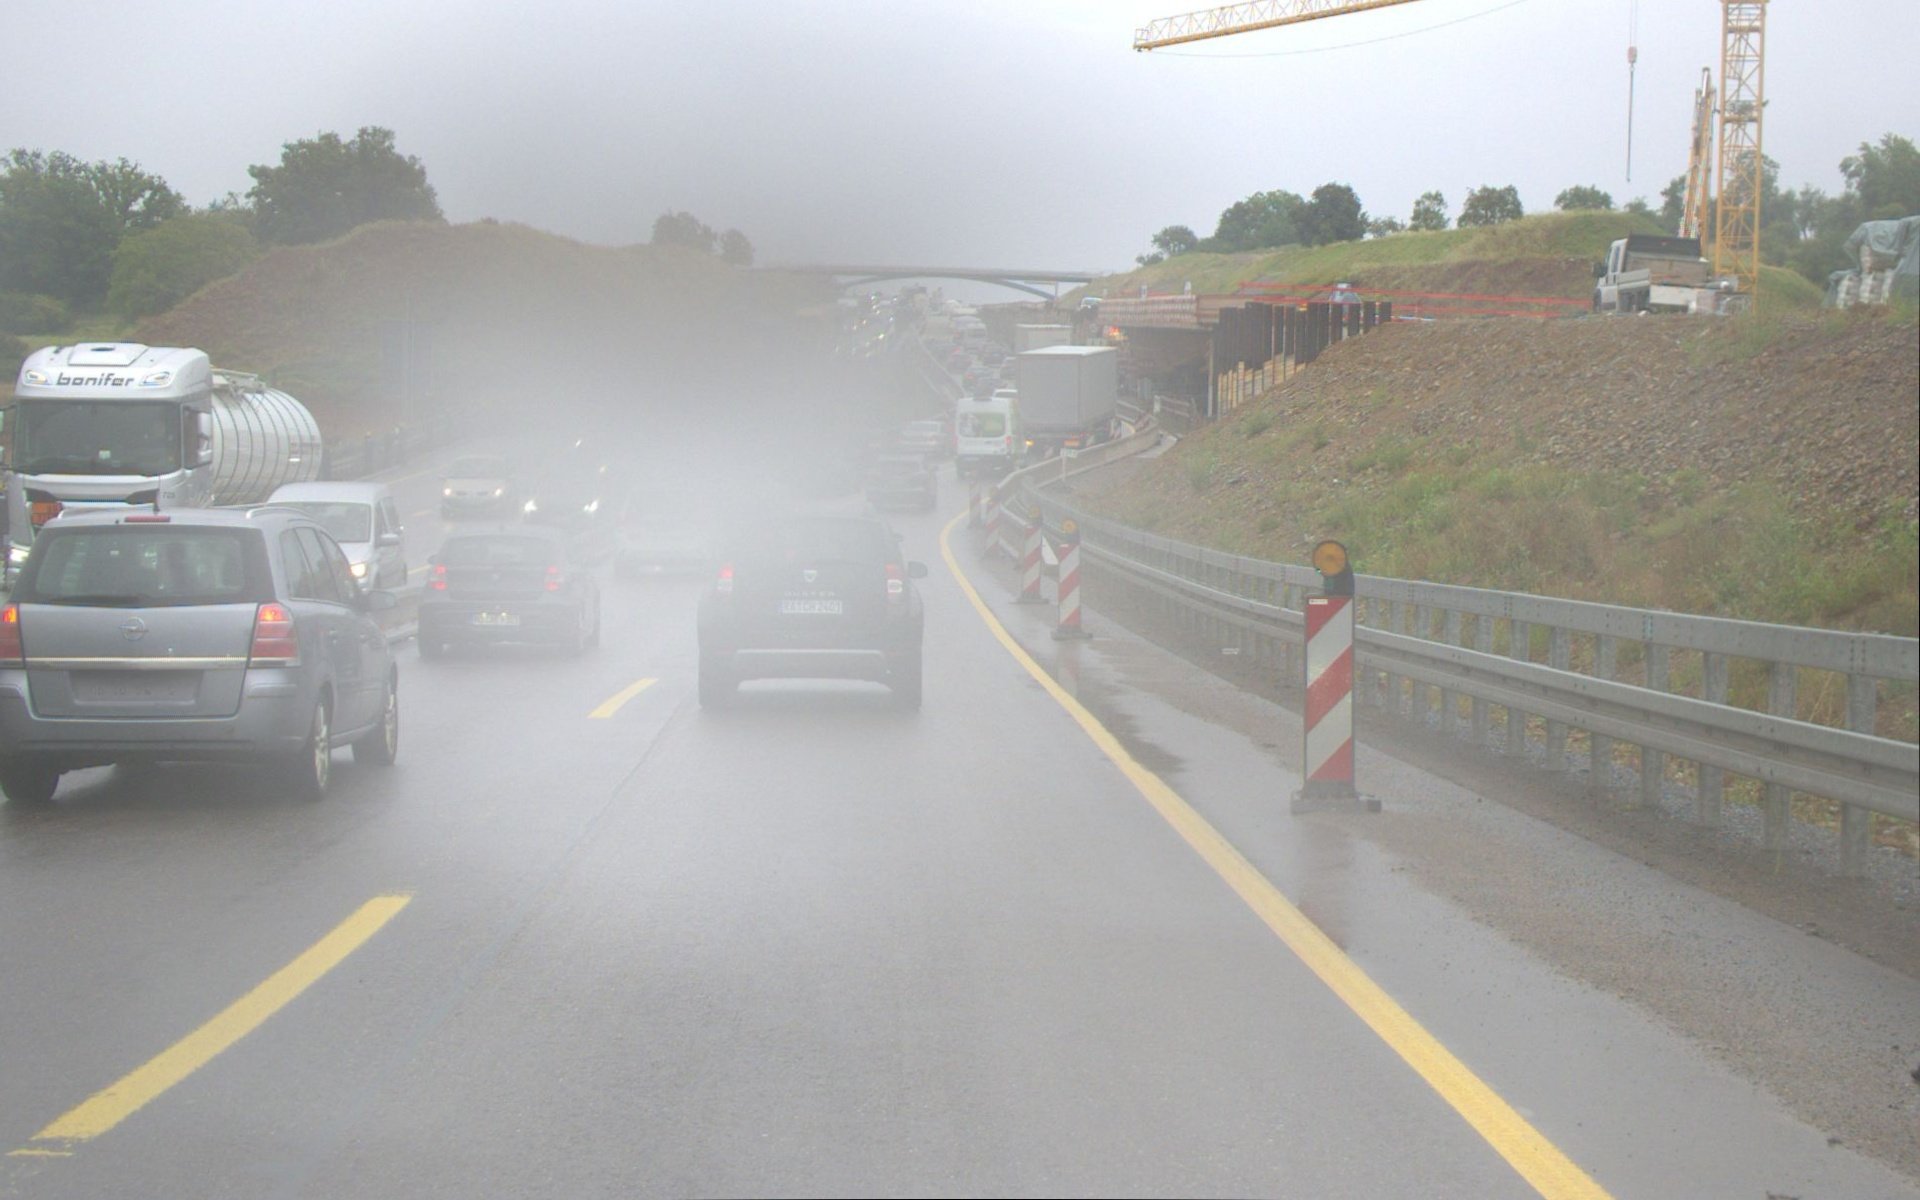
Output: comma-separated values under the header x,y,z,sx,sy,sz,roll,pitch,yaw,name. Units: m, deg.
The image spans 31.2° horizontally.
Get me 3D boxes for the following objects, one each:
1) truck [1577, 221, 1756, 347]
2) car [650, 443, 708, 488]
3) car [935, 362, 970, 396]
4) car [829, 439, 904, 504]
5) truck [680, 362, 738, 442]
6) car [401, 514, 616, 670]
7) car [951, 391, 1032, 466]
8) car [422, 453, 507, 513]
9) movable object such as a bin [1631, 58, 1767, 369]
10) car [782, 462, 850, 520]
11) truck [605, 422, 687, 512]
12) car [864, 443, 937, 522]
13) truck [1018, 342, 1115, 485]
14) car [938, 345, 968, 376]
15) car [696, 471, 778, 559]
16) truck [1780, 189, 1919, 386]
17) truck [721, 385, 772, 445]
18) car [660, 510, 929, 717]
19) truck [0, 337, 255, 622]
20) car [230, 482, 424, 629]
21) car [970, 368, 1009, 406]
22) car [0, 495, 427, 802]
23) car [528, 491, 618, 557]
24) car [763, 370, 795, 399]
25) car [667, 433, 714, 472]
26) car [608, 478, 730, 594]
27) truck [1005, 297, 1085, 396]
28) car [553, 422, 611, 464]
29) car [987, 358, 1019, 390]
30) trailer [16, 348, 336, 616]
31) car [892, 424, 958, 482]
x,y,z,sx,sy,sz,roll,pitch,yaw,name
17.041,-7.602,83.368,2.645,2.546,6.986,0,1,-2,truck
-9.875,-4.727,120.904,1.786,1.533,4.312,0,2,-2,car
-0.477,-13.430,208.731,1.993,2.006,4.001,0,3,-2,car
-3.199,-4.425,118.980,1.994,2.155,4.140,1,1,7,car
-12.694,-10.076,174.359,2.641,3.956,9.216,0,4,-2,truck
-4.864,-0.132,37.556,1.993,1.595,4.141,0,1,-3,car
1.111,-5.943,119.735,1.994,2.475,4.980,1,1,10,car
-13.167,-3.125,91.487,1.787,1.541,4.001,0,2,-2,car
28.169,-14.435,130.690,4.721,10.804,10.298,1,1,13,movable object such as a bin
-4.461,-3.385,107.105,1.993,1.755,3.815,1,1,0,car
-9.288,-3.907,102.017,2.078,2.567,5.963,0,1,-2,truck
-1.656,-3.300,97.233,1.993,2.155,4.141,1,1,0,car
4.342,-7.389,137.778,3.102,5.407,9.441,1,1,6,truck
-0.484,-17.119,245.996,1.993,2.007,4.001,0,1,-2,car
-5.692,-2.159,87.397,1.993,2.155,4.141,0,1,-4,car
17.326,-5.416,61.039,3.395,2.865,8.960,1,1,0,truck
-9.929,-8.630,160.216,2.147,2.704,6.017,1,3,-2,truck
-1.312,0.057,28.823,2.081,1.595,4.141,0,1,-1,car
-11.690,-1.650,47.797,2.620,3.665,6.596,0,1,-2,truck
-8.135,-0.604,44.490,1.865,1.794,4.163,0,1,-2,car
1.596,-11.555,186.444,1.993,2.006,4.001,0,3,-2,car
-4.409,0.208,20.073,1.993,1.595,4.141,0,1,-1,car
-9.172,-1.825,81.736,1.772,1.499,4.680,0,2,-2,car
-11.011,-13.126,209.320,1.737,1.678,5.553,1,4,-1,car
-10.739,-5.913,137.242,1.676,1.518,4.346,0,3,-2,car
-5.222,-1.161,62.074,1.993,2.007,3.894,0,1,-2,car
4.830,-14.533,198.572,3.803,5.025,12.923,0,1,-2,truck
-14.053,-5.820,127.989,1.786,1.533,4.312,0,2,-2,car
2.891,-15.259,232.506,1.993,2.007,4.001,0,1,-2,car
-11.878,-1.779,53.284,2.620,3.665,12.006,0,1,-2,trailer
-1.341,-5.660,132.589,1.994,2.155,4.139,1,1,7,car
